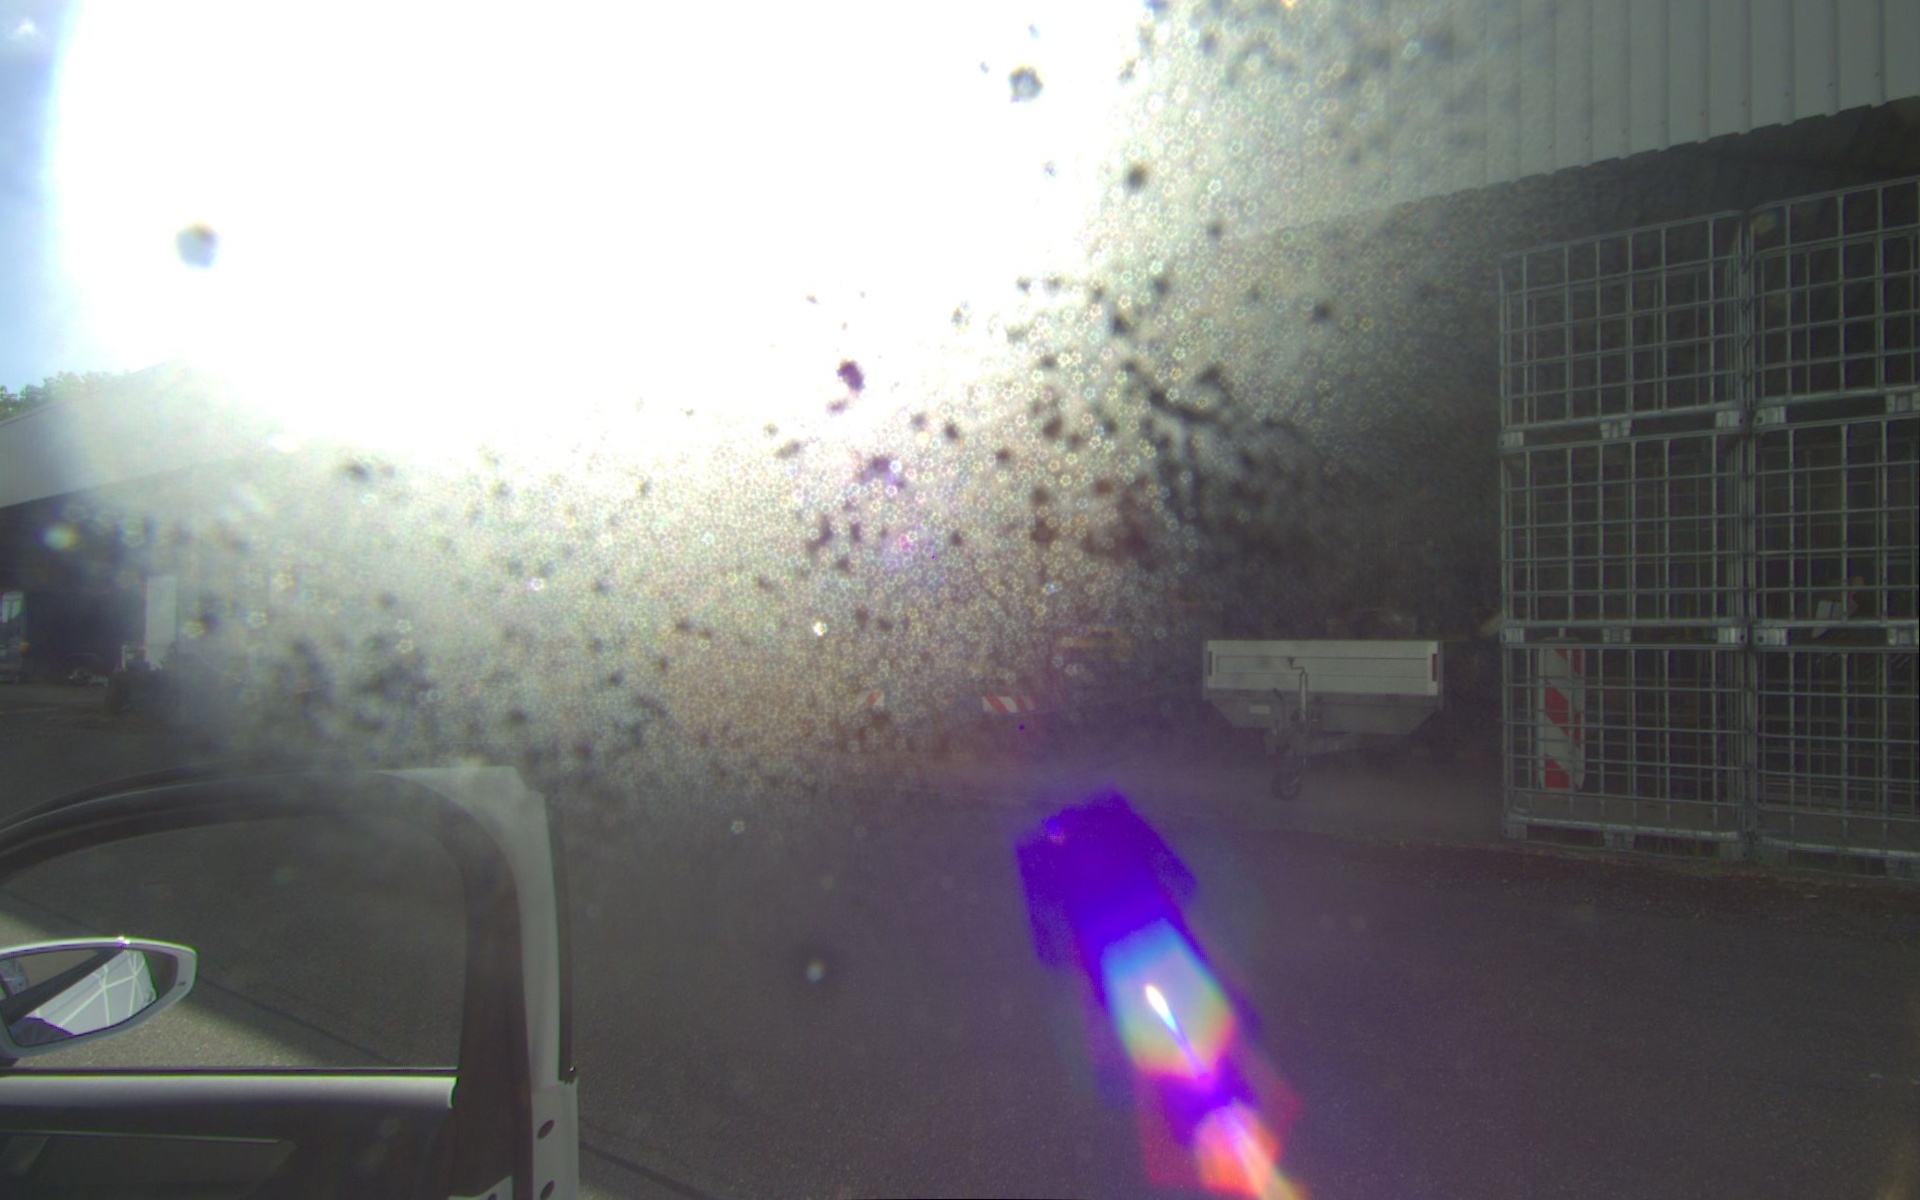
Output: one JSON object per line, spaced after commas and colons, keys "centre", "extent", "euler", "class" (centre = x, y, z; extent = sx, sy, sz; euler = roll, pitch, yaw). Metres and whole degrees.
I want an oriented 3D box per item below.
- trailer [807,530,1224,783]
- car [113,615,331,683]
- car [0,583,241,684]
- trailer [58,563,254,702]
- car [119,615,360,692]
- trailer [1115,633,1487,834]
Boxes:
{"centre": [1.002, 0.520, 11.155], "extent": [2.049, 2.058, 5.753], "euler": [-1, -1, 33], "class": "trailer"}
{"centre": [-18.227, 1.249, 24.910], "extent": [1.662, 1.543, 4.031], "euler": [-3, -5, 33], "class": "car"}
{"centre": [-21.380, 0.933, 25.639], "extent": [1.890, 2.337, 4.425], "euler": [-3, -4, 33], "class": "car"}
{"centre": [-15.273, 0.628, 19.094], "extent": [1.703, 2.429, 2.518], "euler": [-2, -2, 33], "class": "trailer"}
{"centre": [-15.889, 1.223, 22.294], "extent": [1.662, 1.543, 4.031], "euler": [-3, -5, 33], "class": "car"}
{"centre": [3.494, 0.914, 9.174], "extent": [2.110, 1.148, 5.840], "euler": [-1, -1, 30], "class": "trailer"}
